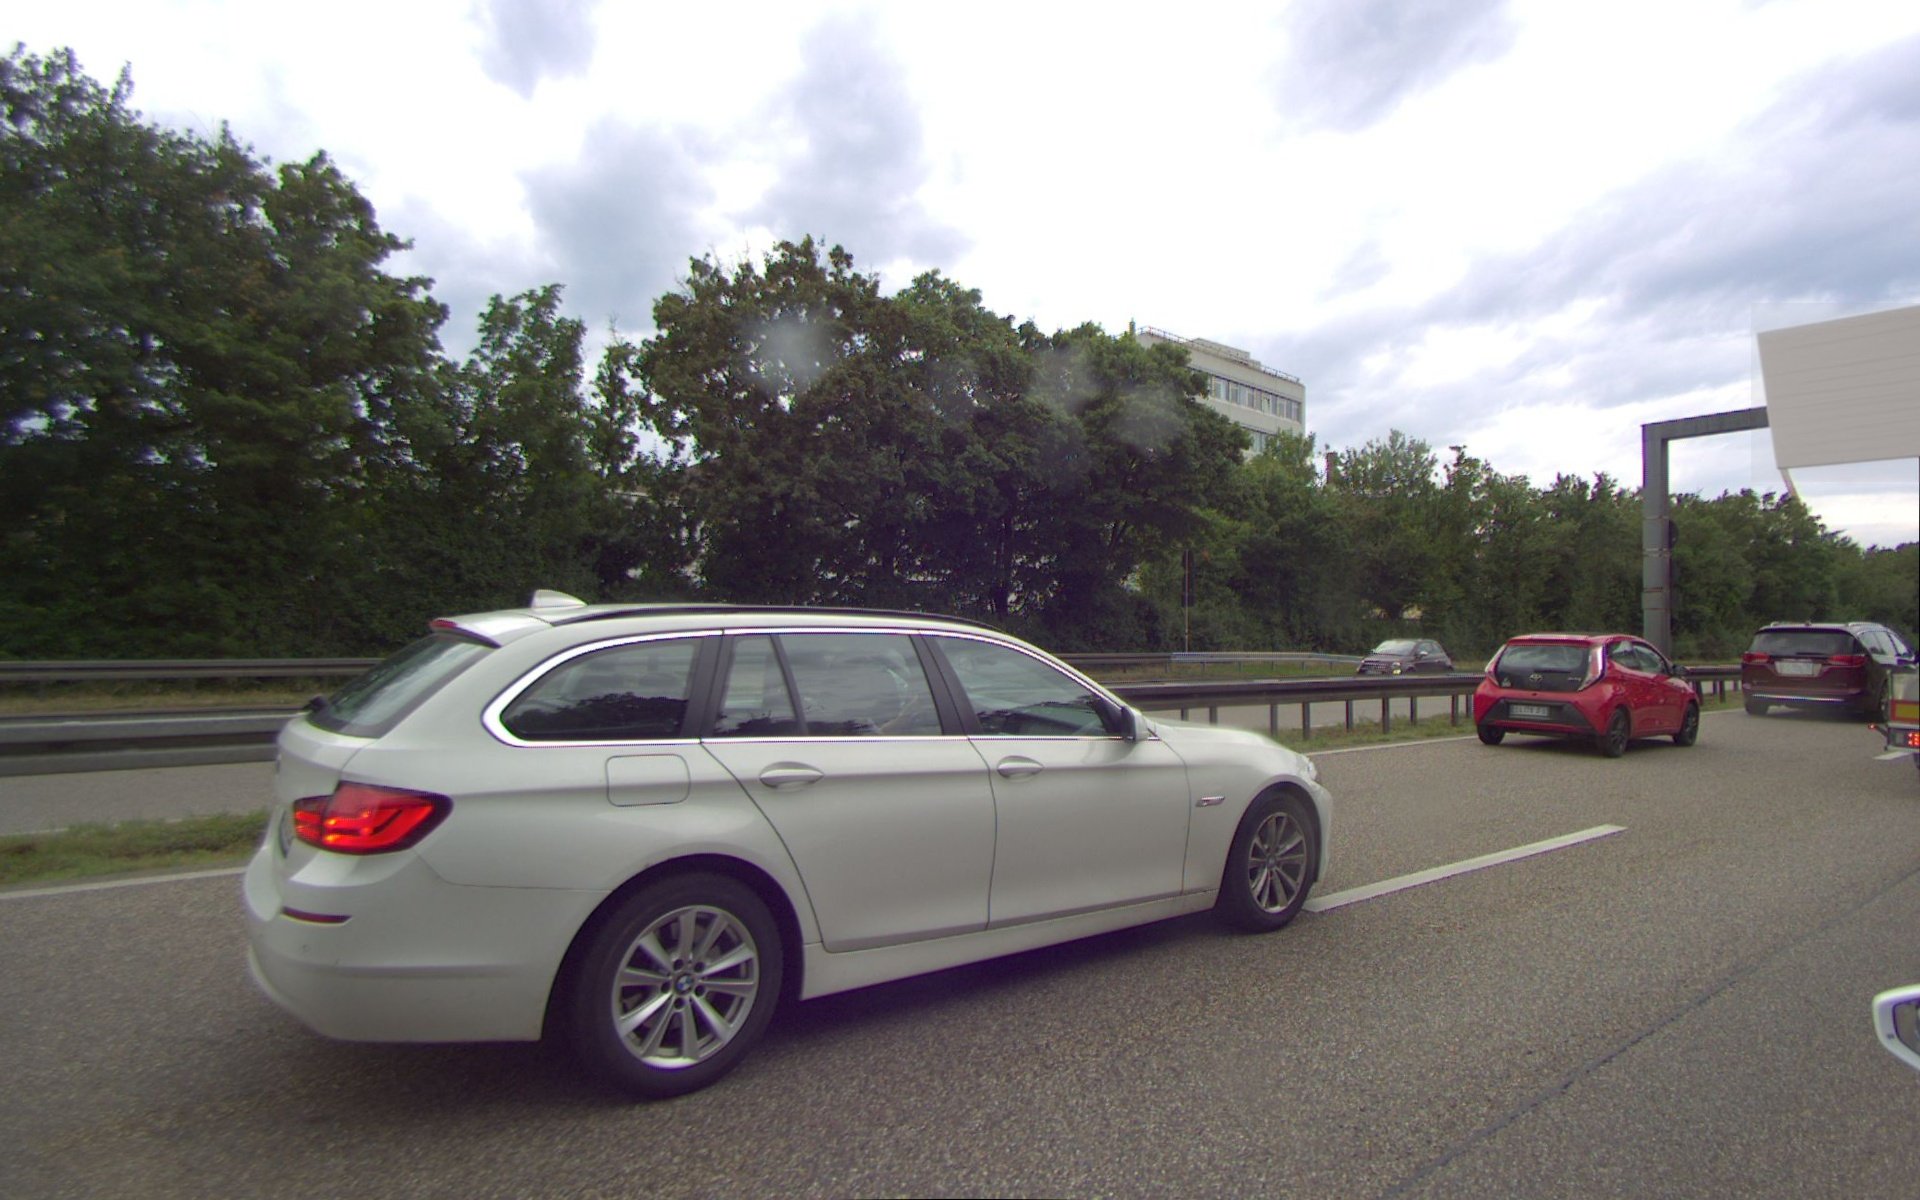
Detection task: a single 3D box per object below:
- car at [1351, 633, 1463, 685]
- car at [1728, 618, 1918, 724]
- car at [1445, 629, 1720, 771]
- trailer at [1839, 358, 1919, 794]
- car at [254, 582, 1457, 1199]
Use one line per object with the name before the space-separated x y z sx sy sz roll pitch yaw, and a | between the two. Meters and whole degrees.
car | 13.828 1.783 30.991 3.798 1.516 1.562 2 -2 -38
car | 16.131 1.263 18.722 3.963 1.729 1.862 2 -1 -37
car | 8.206 1.211 13.128 4.050 1.544 1.616 2 -1 -36
trailer | 13.525 -0.105 11.757 10.884 3.959 2.664 2 -2 -37
car | -0.049 0.787 4.622 5.208 1.483 2.044 2 -2 -36
